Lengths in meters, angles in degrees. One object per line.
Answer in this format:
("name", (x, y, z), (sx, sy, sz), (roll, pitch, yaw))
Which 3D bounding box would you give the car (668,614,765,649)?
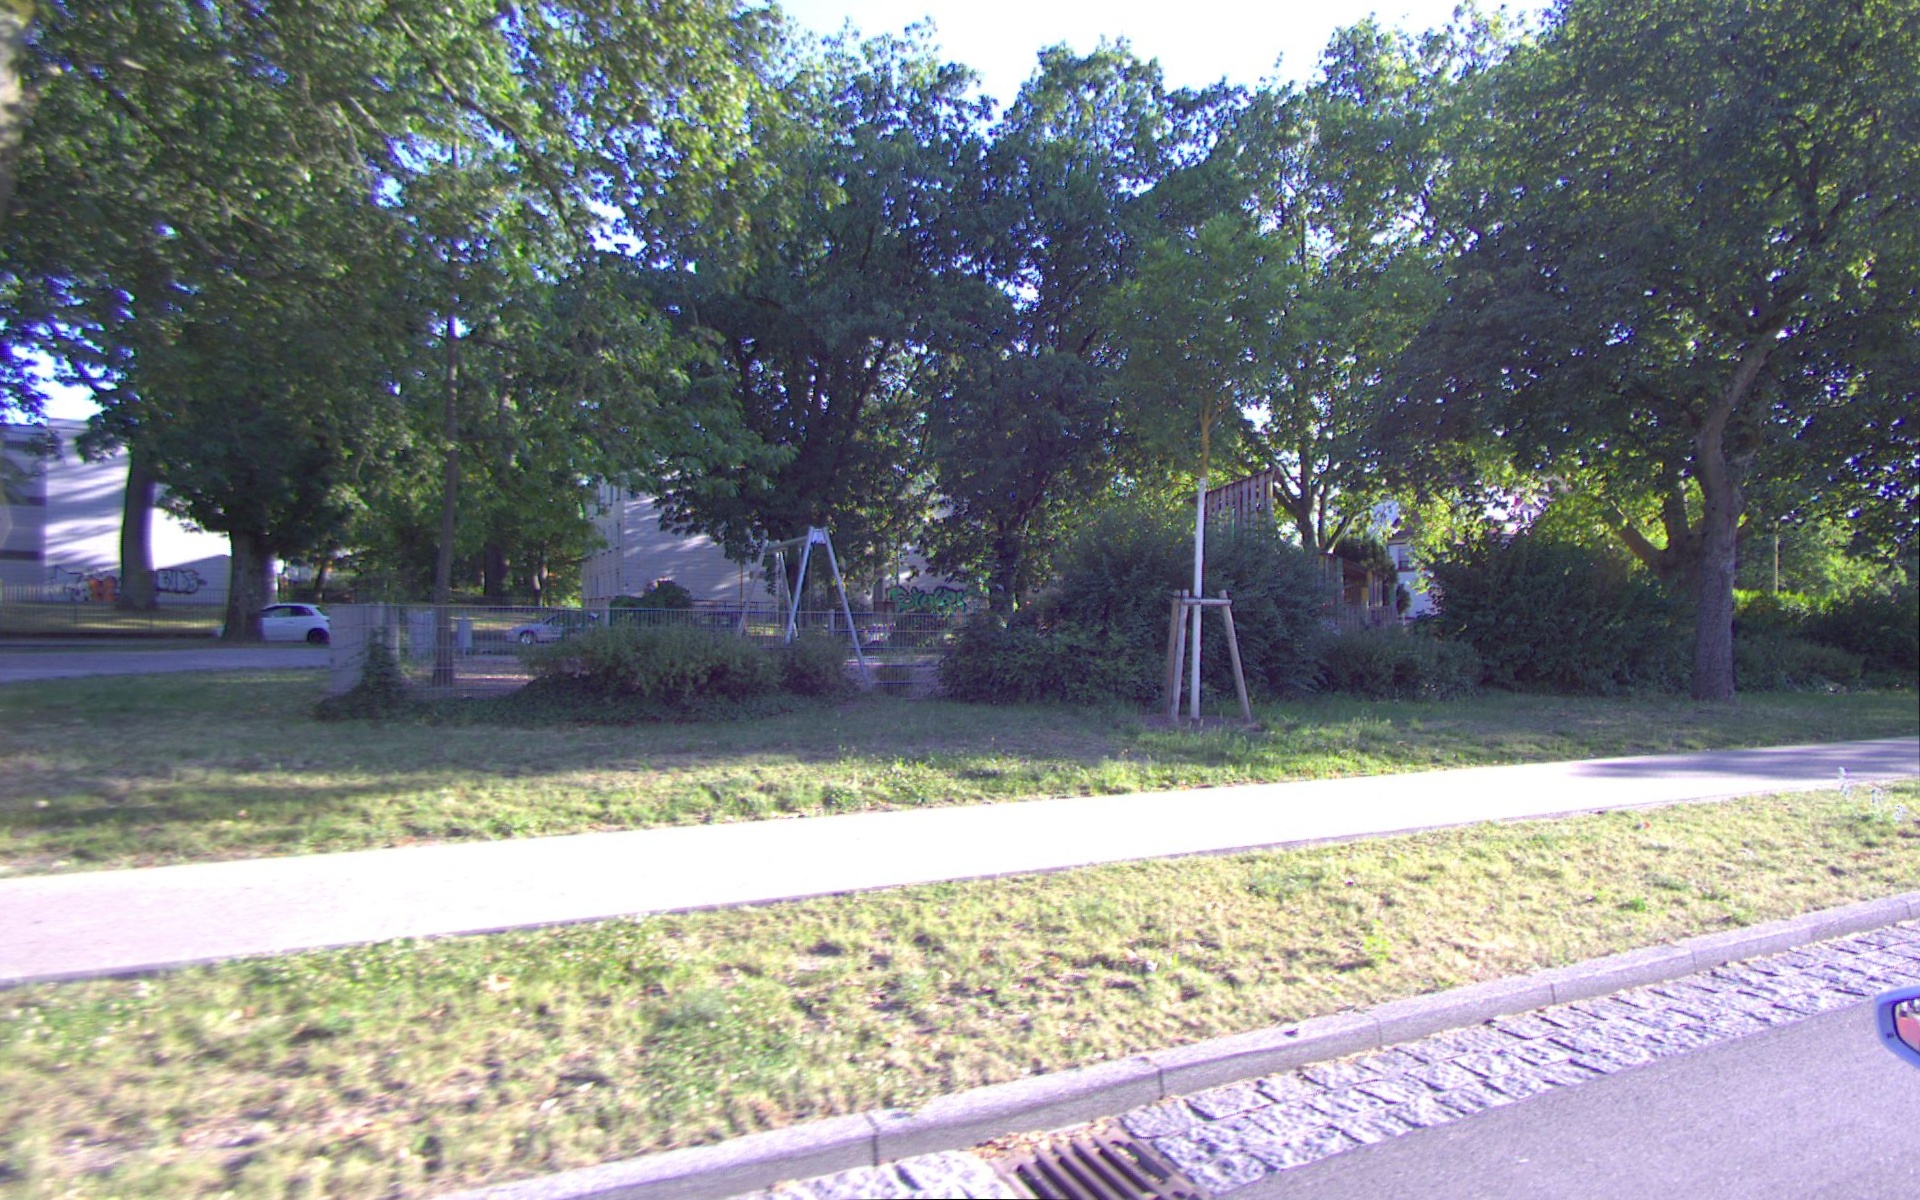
("car", (-10.162, 1.312, 41.898), (3.700, 1.386, 1.518), (1, 0, -24))

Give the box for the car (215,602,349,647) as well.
("car", (-23.625, 0.852, 35.136), (3.611, 1.483, 1.596), (1, 0, -23))

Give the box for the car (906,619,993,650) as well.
("car", (-0.487, 1.576, 46.271), (3.700, 1.386, 1.518), (1, 0, -24))

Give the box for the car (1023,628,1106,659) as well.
("car", (5.036, 2.065, 48.220), (3.700, 1.386, 1.518), (1, 0, -24))

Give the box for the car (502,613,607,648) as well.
("car", (-15.795, 1.180, 39.157), (3.700, 1.309, 1.518), (1, 0, -24))
